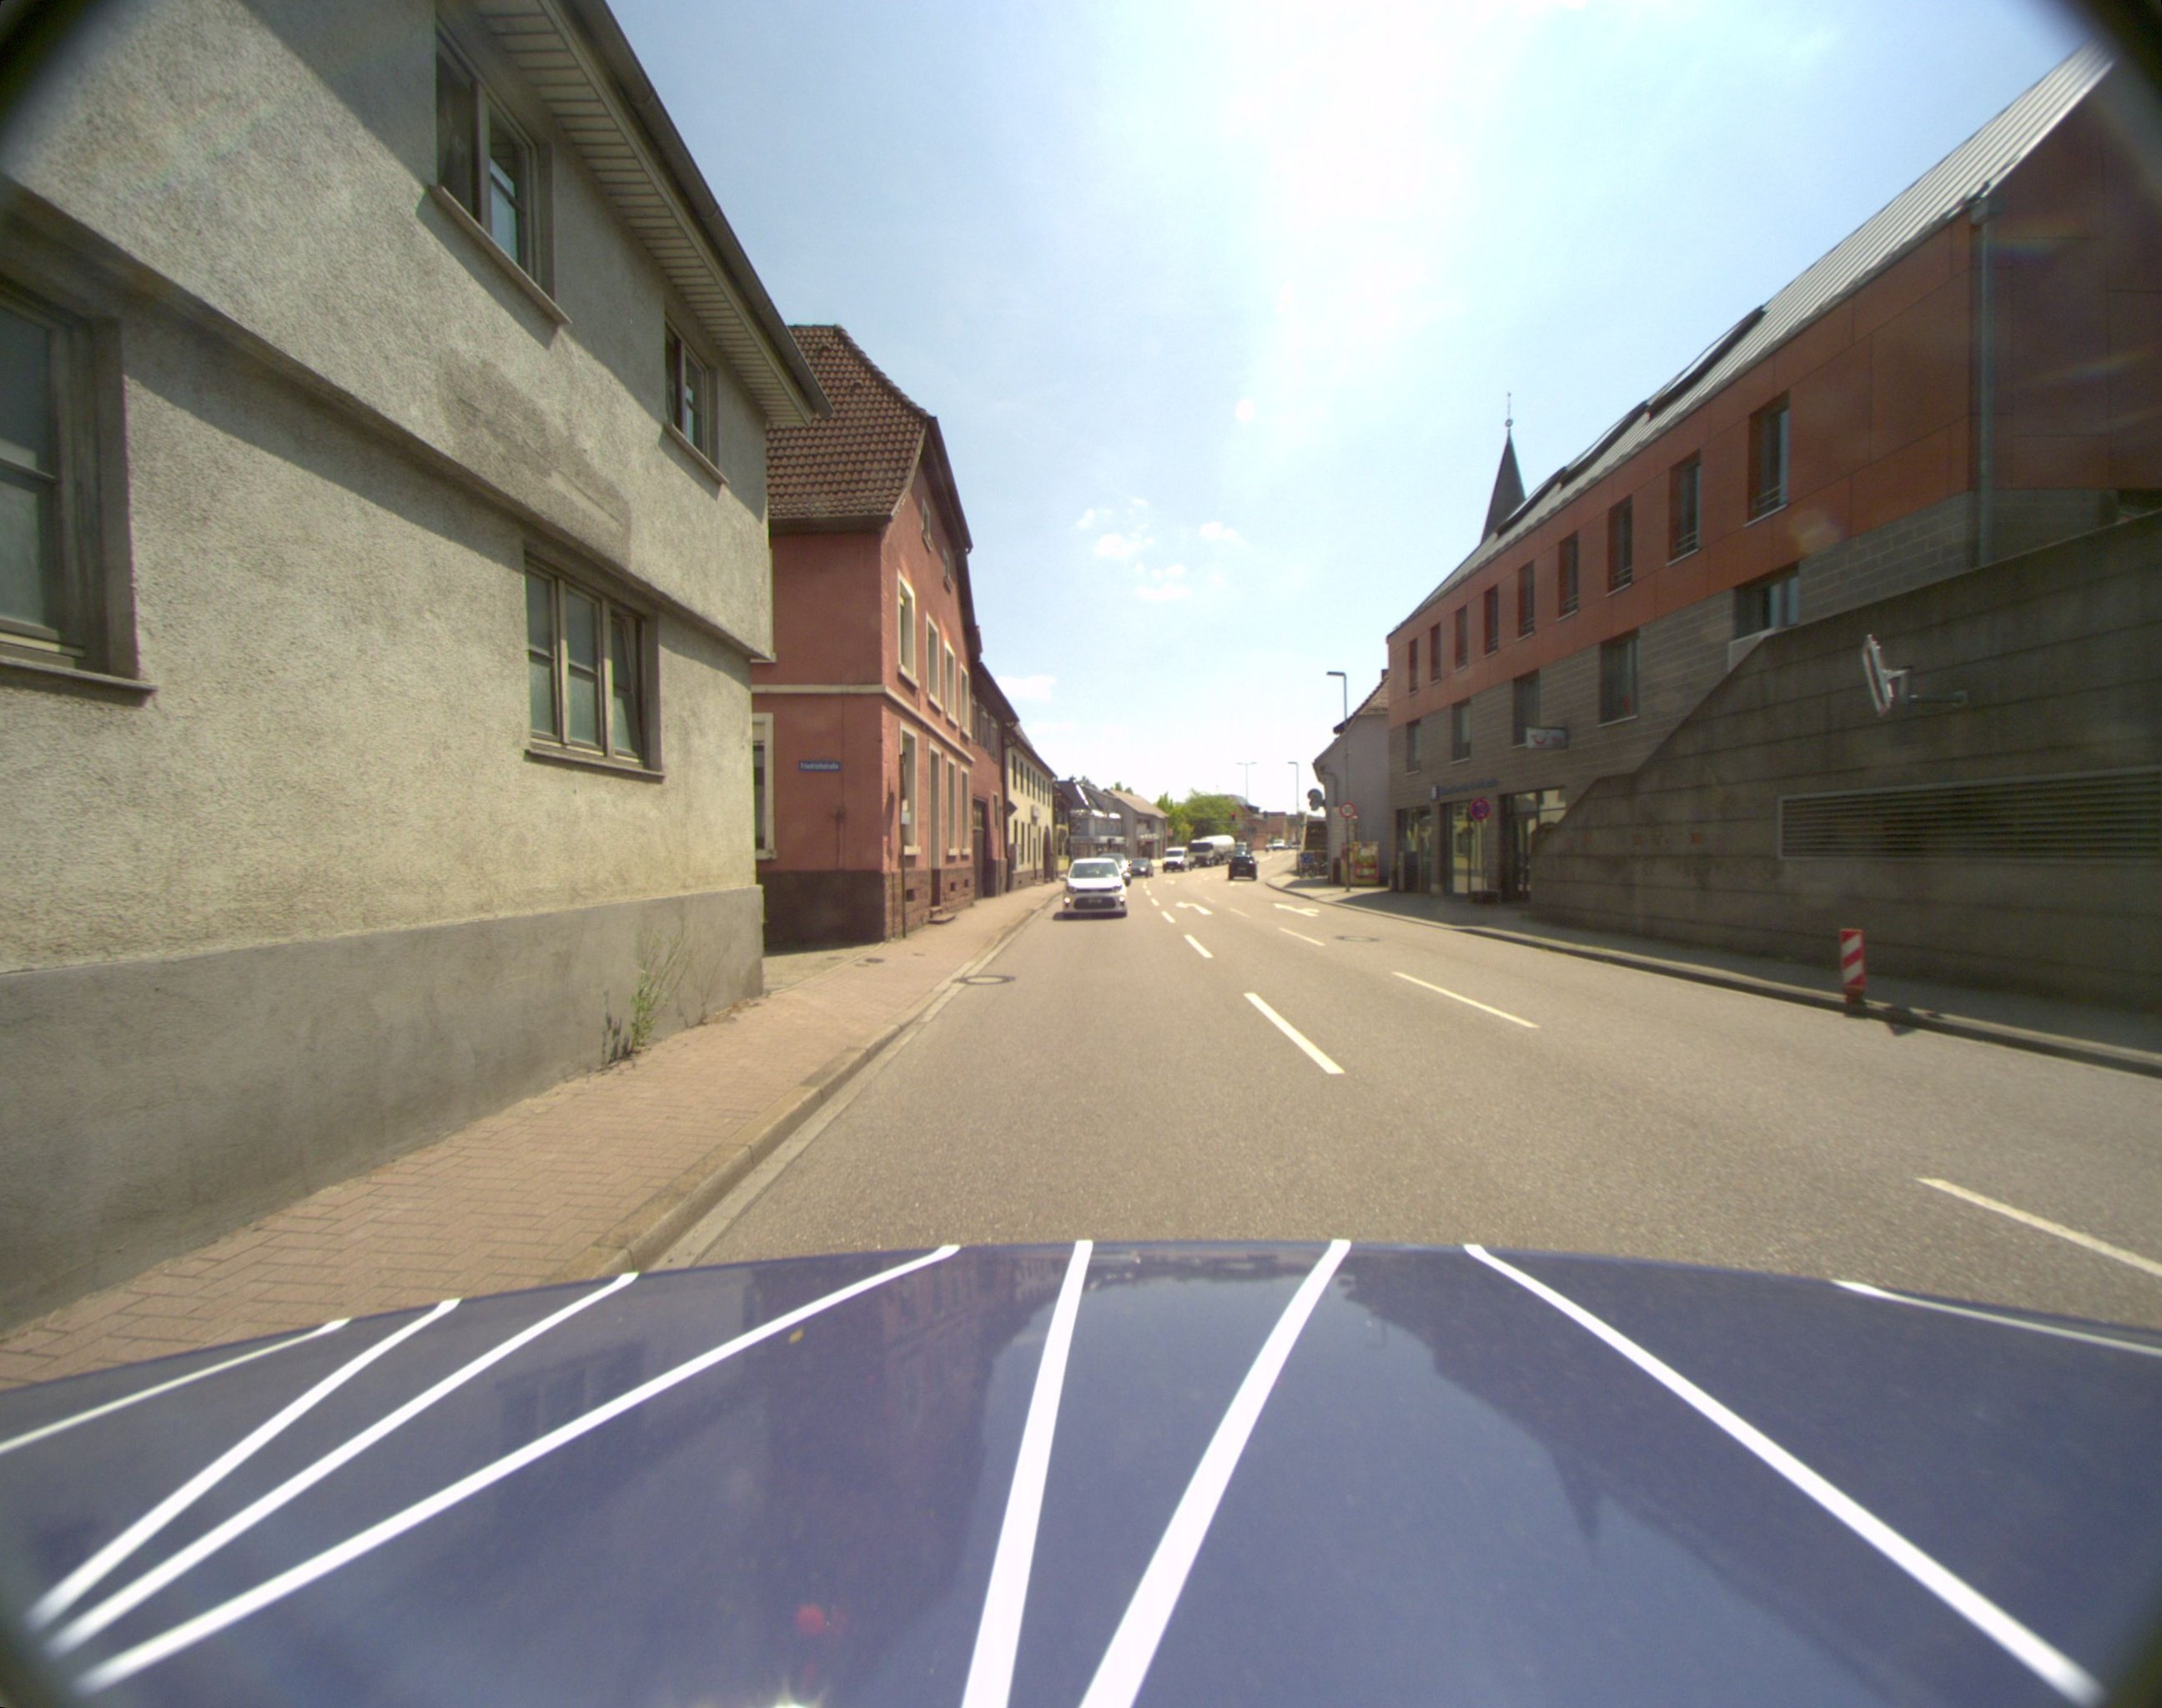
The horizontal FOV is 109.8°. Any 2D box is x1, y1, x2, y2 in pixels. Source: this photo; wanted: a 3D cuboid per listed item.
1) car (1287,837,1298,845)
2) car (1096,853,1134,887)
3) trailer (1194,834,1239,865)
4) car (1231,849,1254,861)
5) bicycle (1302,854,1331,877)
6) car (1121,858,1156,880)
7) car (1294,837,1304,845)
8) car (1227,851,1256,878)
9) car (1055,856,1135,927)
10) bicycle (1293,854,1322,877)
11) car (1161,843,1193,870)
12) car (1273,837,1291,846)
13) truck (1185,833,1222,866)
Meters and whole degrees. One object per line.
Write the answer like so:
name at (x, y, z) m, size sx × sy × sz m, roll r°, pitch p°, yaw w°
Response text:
car at (43.756, -2.712, 157.294) m, size 2.009 × 1.621 × 4.584 m, roll -1°, pitch 0°, yaw 19°
car at (1.784, 0.780, 38.872) m, size 1.724 × 1.541 × 4.304 m, roll -2°, pitch 0°, yaw 5°
trailer at (16.641, -0.607, 92.640) m, size 2.833 × 3.549 × 10.983 m, roll -1°, pitch 0°, yaw 24°
car at (22.219, 0.128, 104.584) m, size 2.008 × 1.621 × 4.586 m, roll -1°, pitch 0°, yaw 27°
bicycle at (14.116, 0.679, 45.488) m, size 1.834 × 1.241 × 0.577 m, roll -3°, pitch -1°, yaw -34°
car at (4.199, 1.043, 54.671) m, size 1.927 × 1.358 × 4.307 m, roll -2°, pitch 0°, yaw 12°
car at (49.814, -2.996, 173.425) m, size 2.008 × 1.621 × 4.584 m, roll -1°, pitch 0°, yaw 20°
car at (10.236, 0.622, 48.297) m, size 1.672 × 1.648 × 4.021 m, roll -1°, pitch 0°, yaw 13°
car at (0.482, 0.878, 19.827) m, size 1.724 × 1.541 × 4.304 m, roll -2°, pitch 0°, yaw 5°
bicycle at (13.697, 0.690, 45.988) m, size 1.834 × 1.241 × 0.577 m, roll -3°, pitch -1°, yaw -34°
car at (9.371, 0.204, 73.740) m, size 2.172 × 2.549 × 4.831 m, roll -1°, pitch 0°, yaw 19°
car at (34.927, -2.166, 131.986) m, size 2.007 × 1.621 × 4.586 m, roll -1°, pitch 0°, yaw 30°
truck at (13.976, -0.490, 86.531) m, size 2.843 × 3.549 × 5.477 m, roll -1°, pitch 1°, yaw 23°
